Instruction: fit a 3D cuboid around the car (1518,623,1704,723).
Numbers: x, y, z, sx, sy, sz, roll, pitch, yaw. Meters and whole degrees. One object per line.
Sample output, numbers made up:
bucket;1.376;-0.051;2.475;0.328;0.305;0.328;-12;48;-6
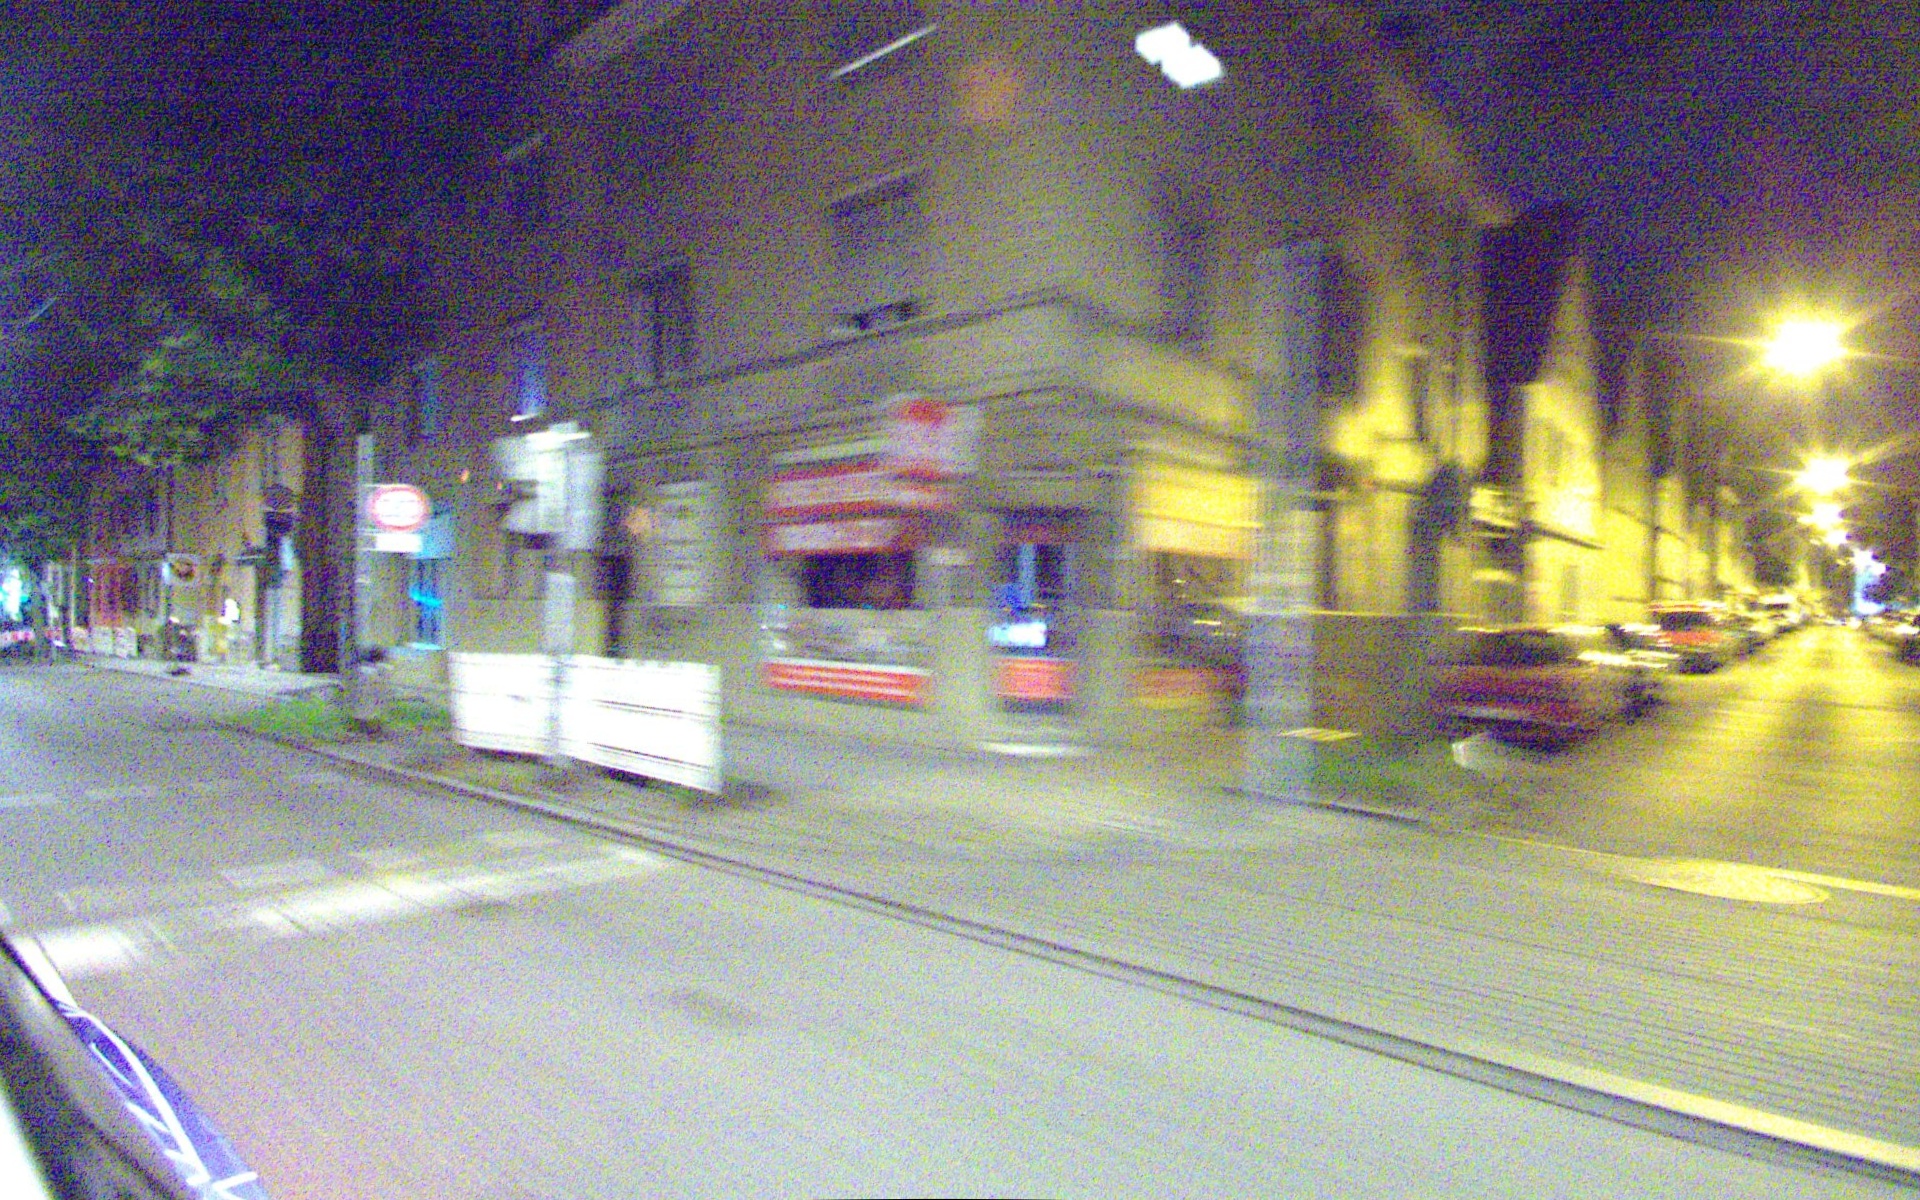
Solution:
car;10.655;1.089;16.432;1.871;1.397;4.184;-2;-2;42

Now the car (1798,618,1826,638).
car;82.847;2.731;98.347;1.871;1.811;4.184;-3;-3;42

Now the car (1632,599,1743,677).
car;18.967;0.974;26.328;1.871;1.856;4.184;-2;-2;42

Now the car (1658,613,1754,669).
car;22.439;1.205;30.367;1.871;1.567;4.184;-3;-3;42

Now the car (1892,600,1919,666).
car;29.818;0.999;30.803;1.886;1.898;4.226;3;2;40

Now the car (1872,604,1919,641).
car;52.415;1.245;56.613;1.886;1.898;4.225;3;1;41

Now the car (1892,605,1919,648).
car;44.607;1.198;46.902;1.886;1.899;4.226;1;1;40

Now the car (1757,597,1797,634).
car;57.696;1.122;71.482;1.871;2.512;4.184;-4;-3;42

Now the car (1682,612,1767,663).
car;25.782;1.240;34.093;1.871;1.567;4.184;-3;-3;42

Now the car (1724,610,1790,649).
car;33.932;1.243;43.064;1.871;1.567;4.184;-3;-3;42

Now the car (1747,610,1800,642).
car;42.600;1.368;52.986;1.871;1.567;4.184;-3;-3;42

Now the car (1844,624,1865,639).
car;113.257;3.944;128.111;1.871;1.811;4.184;-3;-3;42

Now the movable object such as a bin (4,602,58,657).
movable object such as a bin;-46.177;1.463;50.273;3.909;2.647;1.554;-1;-3;43

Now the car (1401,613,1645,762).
car;7.144;0.980;12.681;1.871;1.567;3.709;-2;-2;42
